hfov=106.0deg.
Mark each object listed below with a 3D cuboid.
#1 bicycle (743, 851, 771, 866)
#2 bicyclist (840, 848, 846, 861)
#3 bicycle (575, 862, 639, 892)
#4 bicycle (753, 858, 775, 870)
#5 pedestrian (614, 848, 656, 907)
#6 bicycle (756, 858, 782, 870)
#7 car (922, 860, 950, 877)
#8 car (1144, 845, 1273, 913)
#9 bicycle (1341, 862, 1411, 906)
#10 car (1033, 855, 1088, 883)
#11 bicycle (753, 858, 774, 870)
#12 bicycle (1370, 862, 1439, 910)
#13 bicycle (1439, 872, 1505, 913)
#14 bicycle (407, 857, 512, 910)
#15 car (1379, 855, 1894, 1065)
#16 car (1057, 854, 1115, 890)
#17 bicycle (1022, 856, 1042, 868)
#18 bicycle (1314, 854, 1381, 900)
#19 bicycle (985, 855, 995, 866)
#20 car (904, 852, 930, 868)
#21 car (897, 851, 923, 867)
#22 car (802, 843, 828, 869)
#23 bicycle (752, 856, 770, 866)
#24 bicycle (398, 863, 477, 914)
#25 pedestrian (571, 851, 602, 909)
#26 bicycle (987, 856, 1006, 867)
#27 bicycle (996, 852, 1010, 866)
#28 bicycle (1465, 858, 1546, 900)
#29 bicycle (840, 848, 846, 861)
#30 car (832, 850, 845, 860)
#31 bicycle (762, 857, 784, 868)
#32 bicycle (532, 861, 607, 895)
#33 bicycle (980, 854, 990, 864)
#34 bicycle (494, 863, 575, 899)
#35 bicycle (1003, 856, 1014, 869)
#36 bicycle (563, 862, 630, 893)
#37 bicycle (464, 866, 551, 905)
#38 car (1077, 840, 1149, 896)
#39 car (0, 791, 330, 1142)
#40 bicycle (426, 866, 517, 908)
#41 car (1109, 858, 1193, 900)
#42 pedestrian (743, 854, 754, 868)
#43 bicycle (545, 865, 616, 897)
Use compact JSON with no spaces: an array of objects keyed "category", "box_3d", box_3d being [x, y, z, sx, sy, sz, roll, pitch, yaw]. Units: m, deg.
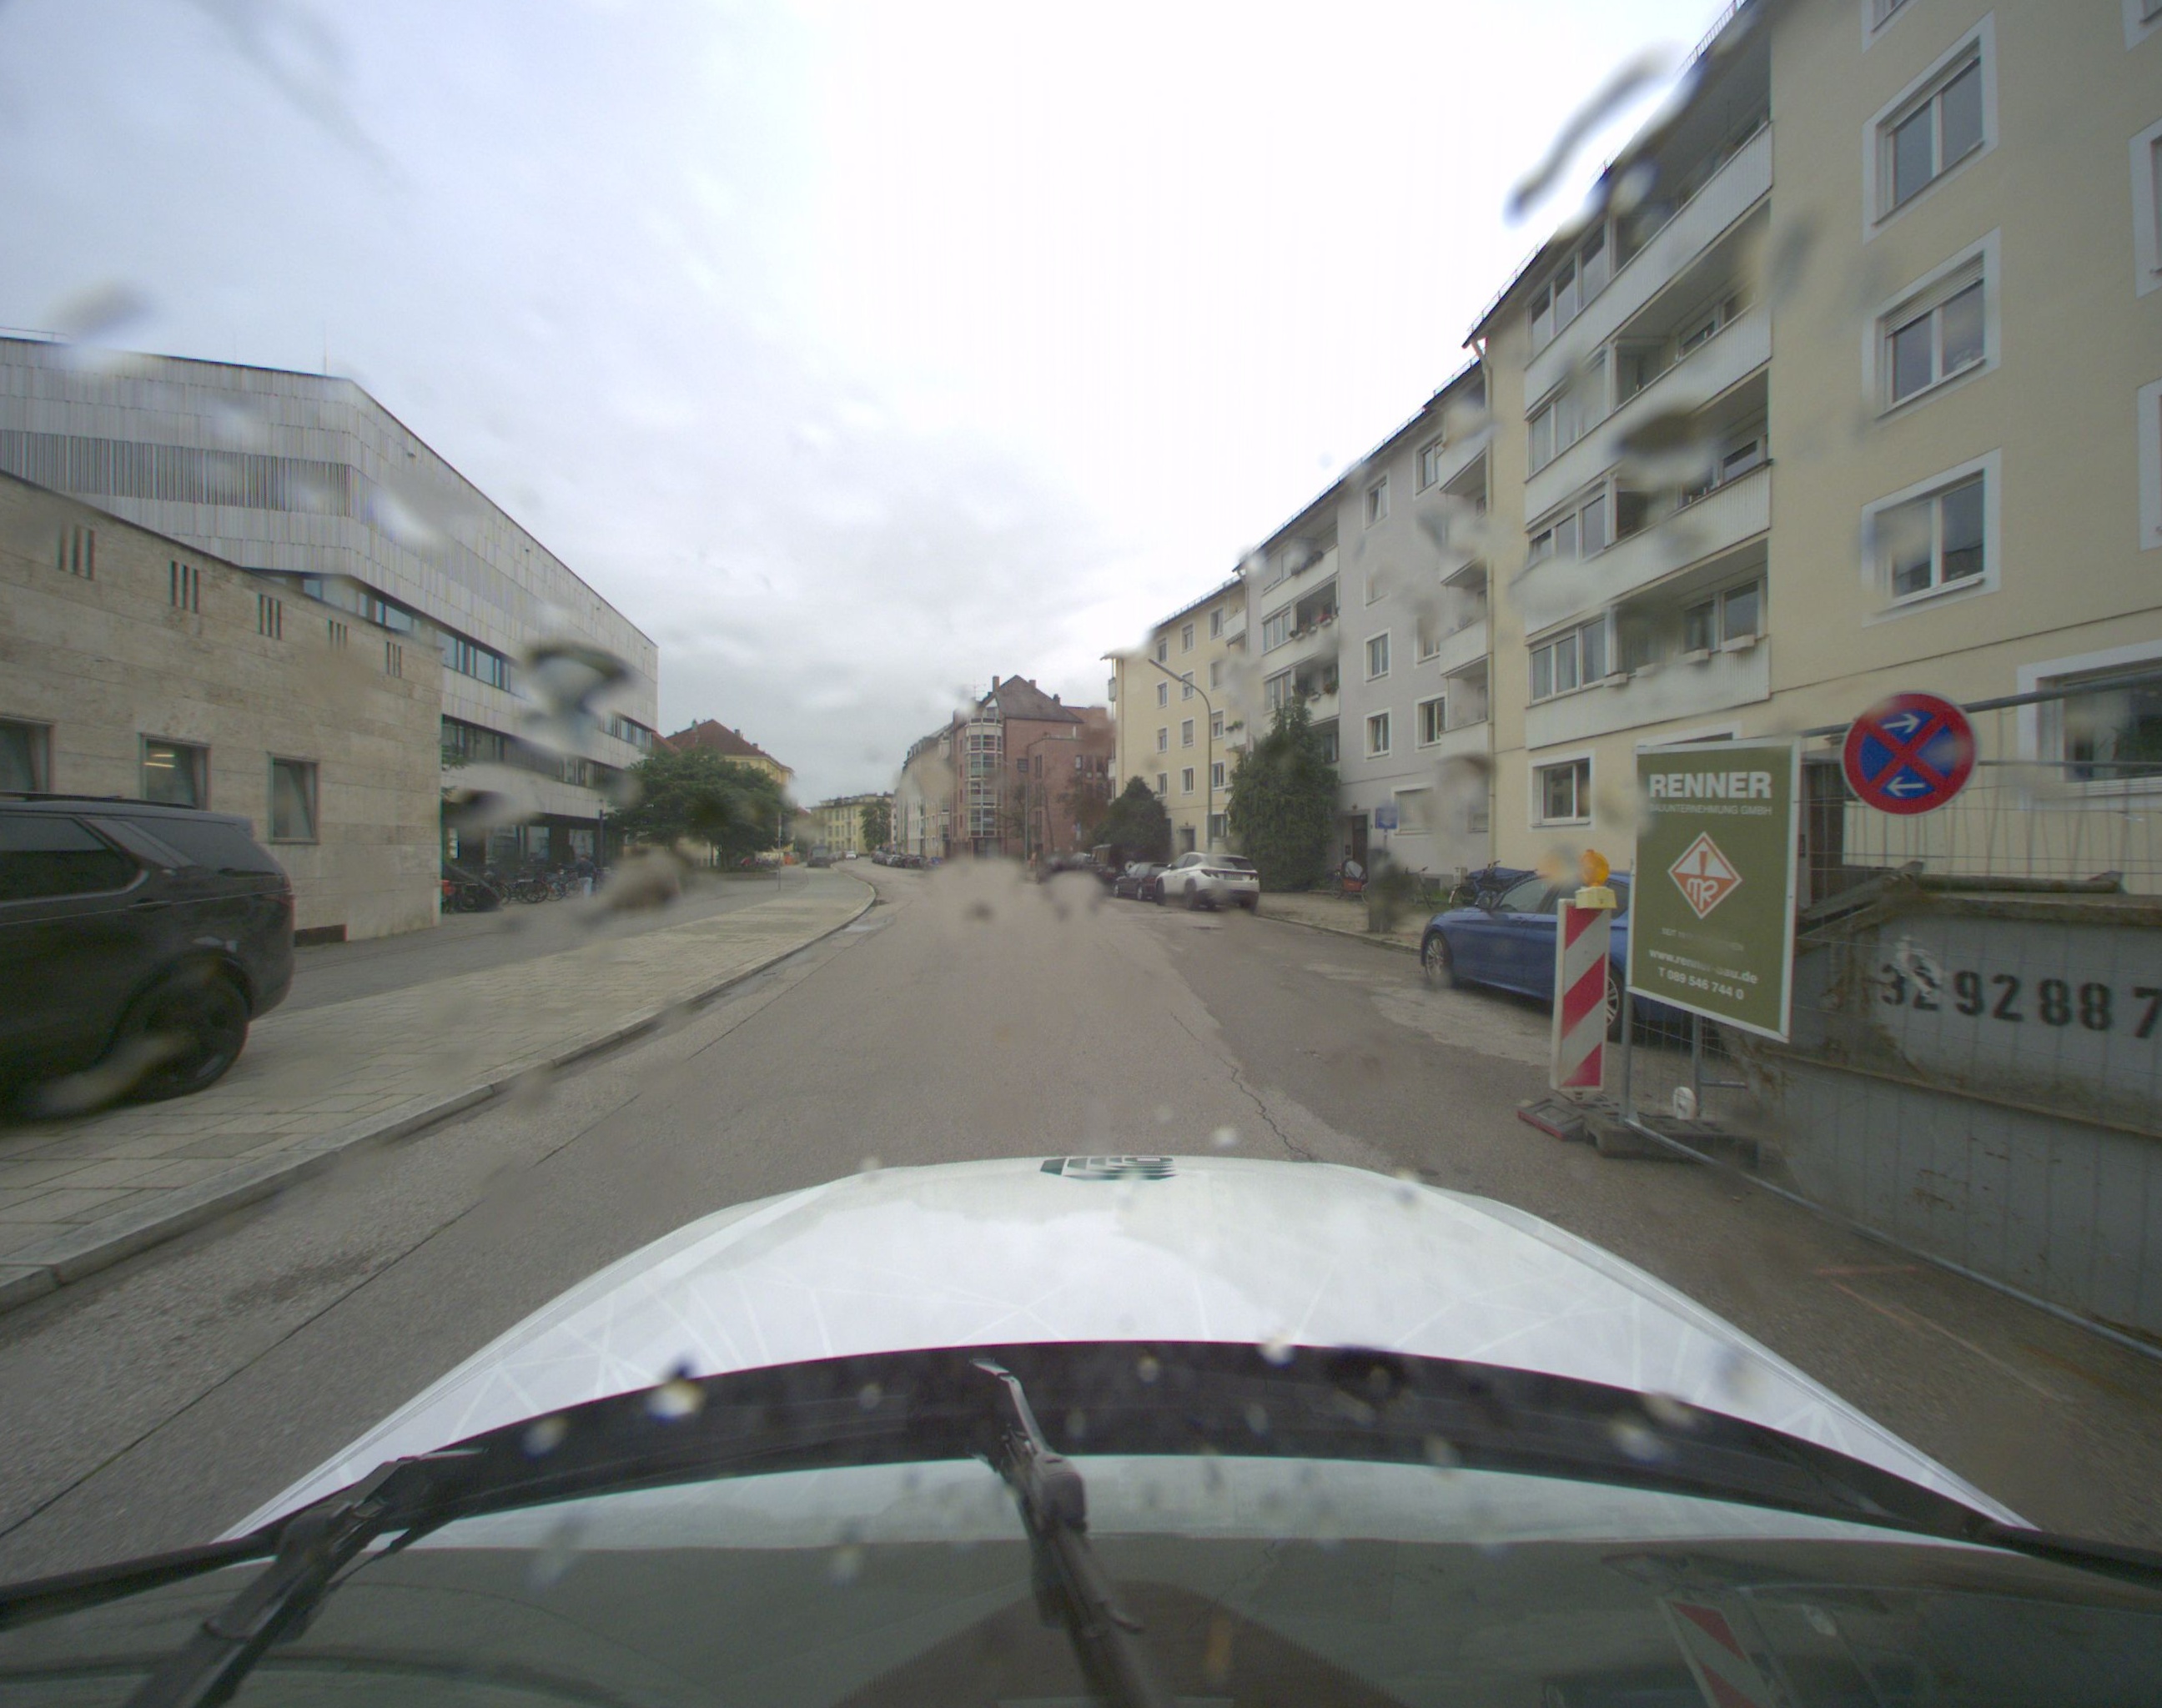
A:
[{"category":"bicycle","box_3d":[-29.128,0.414,73.234,2.105,1.227,0.784,2,0,-10]},{"category":"bicyclist","box_3d":[-36.996,0.102,126.712,0.768,2.013,0.764,-4,2,-15]},{"category":"bicycle","box_3d":[-18.632,0.903,32.025,2.050,1.111,0.613,1,0,-17]},{"category":"bicycle","box_3d":[-30.275,0.957,77.705,1.866,1.029,0.538,2,0,-10]},{"category":"pedestrian","box_3d":[-13.465,0.706,24.597,0.792,1.739,0.820,2,0,-3]},{"category":"bicycle","box_3d":[-30.298,0.968,79.117,2.310,1.135,0.579,2,0,-10]},{"category":"car","box_3d":[-13.865,1.385,77.585,1.931,1.512,4.362,2,0,-20]},{"category":"car","box_3d":[3.481,0.634,23.315,2.029,1.678,4.592,1,1,-14]},{"category":"bicycle","box_3d":[8.373,0.837,23.190,0.580,1.158,1.812,-3,1,-35]},{"category":"car","box_3d":[-1.131,0.791,42.794,1.760,1.396,4.018,2,-1,-19]},{"category":"bicycle","box_3d":[-29.874,0.927,76.623,1.791,1.033,0.506,2,0,-10]},{"category":"bicycle","box_3d":[8.722,0.839,21.922,1.835,1.158,0.573,-3,1,-23]},{"category":"bicycle","box_3d":[9.436,0.912,19.669,1.470,0.857,0.442,-4,1,-15]},{"category":"bicycle","box_3d":[-16.523,0.776,21.698,2.101,1.351,0.610,1,0,-15]},{"category":"car","box_3d":[4.928,0.788,8.256,1.827,1.442,4.622,2,1,-4]},{"category":"car","box_3d":[0.164,0.795,37.707,1.660,1.566,4.494,1,0,-13]},{"category":"bicycle","box_3d":[-4.329,0.719,71.633,1.706,0.965,0.542,1,0,-20]},{"category":"bicycle","box_3d":[8.537,0.706,26.211,0.744,1.367,2.458,-3,1,-16]},{"category":"bicycle","box_3d":[-9.625,0.695,86.396,0.488,1.060,1.981,1,0,-22]},{"category":"car","box_3d":[-17.579,0.606,87.248,1.838,1.602,4.233,1,1,-23]},{"category":"car","box_3d":[-19.338,0.526,91.865,1.973,1.602,4.635,1,1,-23]},{"category":"car","box_3d":[-30.263,0.246,92.515,2.431,2.715,5.910,-1,0,-21]},{"category":"bicycle","box_3d":[-28.195,0.587,71.784,1.373,0.862,0.437,1,0,-14]},{"category":"bicycle","box_3d":[-16.185,0.868,20.508,1.452,1.259,0.460,1,0,-15]},{"category":"pedestrian","box_3d":[-14.055,0.738,23.152,0.648,1.601,0.599,1,0,-39]},{"category":"bicycle","box_3d":[-8.817,0.805,84.817,1.851,1.147,0.485,1,0,-14]},{"category":"bicycle","box_3d":[-7.545,0.492,78.492,0.536,1.248,2.393,1,-2,-26]},{"category":"bicycle","box_3d":[9.928,0.582,19.053,1.696,0.942,0.432,-1,0,-4]},{"category":"bicycle","box_3d":[-37.034,0.048,126.729,0.749,2.013,2.834,-2,1,-14]},{"category":"car","box_3d":[-43.400,0.193,145.531,2.032,1.621,4.476,-2,-1,-19]},{"category":"bicycle","box_3d":[-31.484,0.903,83.280,1.904,1.092,0.675,2,0,-10]},{"category":"bicycle","box_3d":[-17.343,0.825,27.673,2.053,1.111,0.612,1,0,-21]},{"category":"bicycle","box_3d":[-10.160,0.510,86.184,0.488,1.060,1.981,1,-1,-22]},{"category":"bicycle","box_3d":[-17.586,0.870,26.266,2.053,1.111,0.612,1,0,-21]},{"category":"bicycle","box_3d":[-6.932,0.781,77.702,0.416,1.173,1.369,2,0,25]},{"category":"bicycle","box_3d":[-18.276,0.891,30.763,2.050,1.111,0.613,1,0,-17]},{"category":"bicycle","box_3d":[-17.354,0.938,24.681,2.046,1.111,0.614,2,0,-11]},{"category":"car","box_3d":[1.193,0.483,32.964,1.749,2.081,4.496,2,1,-13]},{"category":"car","box_3d":[-6.407,0.575,3.603,1.991,1.771,4.806,0,1,-5]},{"category":"bicycle","box_3d":[-17.344,0.943,23.214,2.041,1.111,0.616,2,0,-4]},{"category":"car","box_3d":[2.352,0.838,28.329,1.662,1.349,3.783,1,-1,-17]},{"category":"pedestrian","box_3d":[-29.084,0.612,71.231,0.719,1.163,1.035,1,0,-15]},{"category":"bicycle","box_3d":[-17.946,0.968,29.237,2.050,1.111,0.613,1,0,-17]}]
